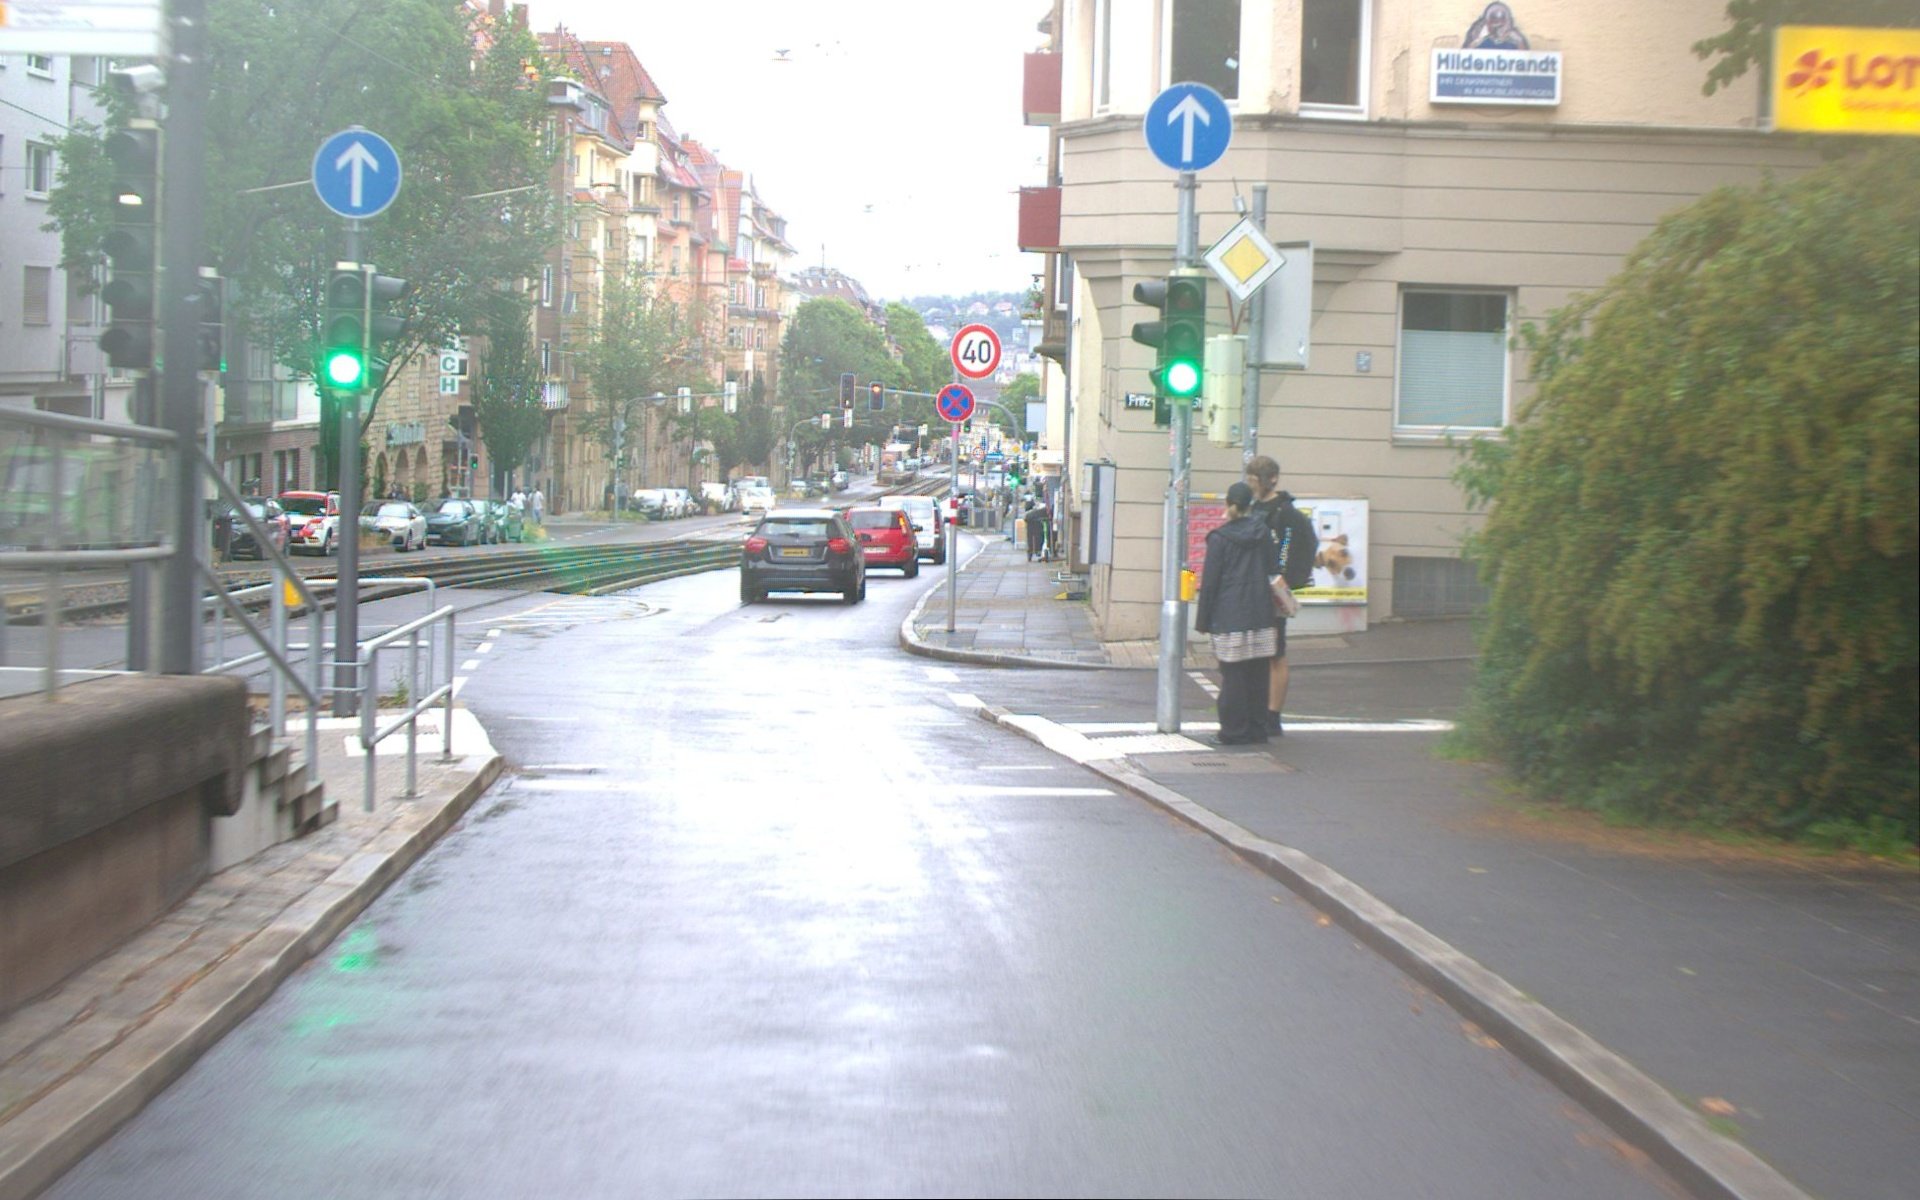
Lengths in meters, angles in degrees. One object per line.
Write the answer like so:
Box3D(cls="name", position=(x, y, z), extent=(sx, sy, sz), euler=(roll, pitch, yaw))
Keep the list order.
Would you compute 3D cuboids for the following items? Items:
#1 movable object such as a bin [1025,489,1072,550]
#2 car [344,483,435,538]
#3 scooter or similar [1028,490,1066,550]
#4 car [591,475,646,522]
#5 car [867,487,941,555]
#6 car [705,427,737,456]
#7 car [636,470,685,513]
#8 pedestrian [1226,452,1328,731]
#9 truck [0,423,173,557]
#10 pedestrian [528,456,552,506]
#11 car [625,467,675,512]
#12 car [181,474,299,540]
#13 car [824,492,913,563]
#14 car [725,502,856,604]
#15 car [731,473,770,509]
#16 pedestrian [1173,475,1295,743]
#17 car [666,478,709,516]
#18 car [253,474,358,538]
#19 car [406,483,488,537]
Box3D(cls="movable object such as a bin", position=(2.421, -2.202, 94.046), extent=(1.167, 1.649, 1.309), euler=(-1, 2, -3))
Box3D(cls="car", position=(-16.123, -2.528, 97.365), extent=(1.773, 1.483, 4.255), euler=(-1, 1, 1))
Box3D(cls="scooter or similar", position=(2.344, -2.149, 92.539), extent=(0.918, 1.598, 0.863), euler=(1, 2, -3))
Box3D(cls="car", position=(-15.108, -4.472, 152.192), extent=(1.993, 2.007, 4.347), euler=(-1, 1, -1))
Box3D(cls="car", position=(-1.552, -2.171, 94.975), extent=(1.948, 1.786, 4.144), euler=(1, 1, -1))
Box3D(cls="car", position=(-17.022, -11.280, 244.987), extent=(1.993, 2.006, 4.001), euler=(1, 2, -1))
Box3D(cls="car", position=(-14.562, -5.285, 167.246), extent=(1.993, 2.007, 4.347), euler=(-1, 1, -1))
Box3D(cls="pedestrian", position=(2.093, -0.060, 22.734), extent=(0.554, 1.807, 0.651), euler=(1, 1, -2))
Box3D(cls="truck", position=(-16.774, -2.052, 64.767), extent=(2.051, 2.384, 6.320), euler=(1, 1, 4))
Box3D(cls="pedestrian", position=(-16.926, -4.804, 138.604), extent=(0.871, 2.007, 0.704), euler=(-1, 1, 0))
Box3D(cls="car", position=(-14.616, -5.204, 162.202), extent=(1.993, 2.007, 4.347), euler=(-1, 1, -1))
Box3D(cls="car", position=(-16.438, -2.120, 78.687), extent=(1.773, 1.448, 4.255), euler=(-1, 1, 0))
Box3D(cls="car", position=(-1.986, -1.582, 75.306), extent=(1.851, 1.468, 4.000), euler=(1, 1, -1))
Box3D(cls="car", position=(-2.575, -0.752, 53.062), extent=(1.851, 1.468, 4.001), euler=(1, 2, -1))
Box3D(cls="car", position=(-11.734, -6.112, 192.769), extent=(1.993, 2.006, 4.347), euler=(1, 2, -1))
Box3D(cls="pedestrian", position=(1.757, 0.051, 22.113), extent=(0.695, 1.689, 0.555), euler=(1, 1, -1))
Box3D(cls="car", position=(-14.720, -5.554, 185.725), extent=(1.993, 2.007, 4.347), euler=(-1, 1, -1))
Box3D(cls="car", position=(-16.321, -2.357, 85.930), extent=(1.773, 1.541, 4.255), euler=(-1, 2, 0))
Box3D(cls="car", position=(-15.790, -2.790, 106.044), extent=(1.773, 1.614, 4.255), euler=(-1, 2, 1))
